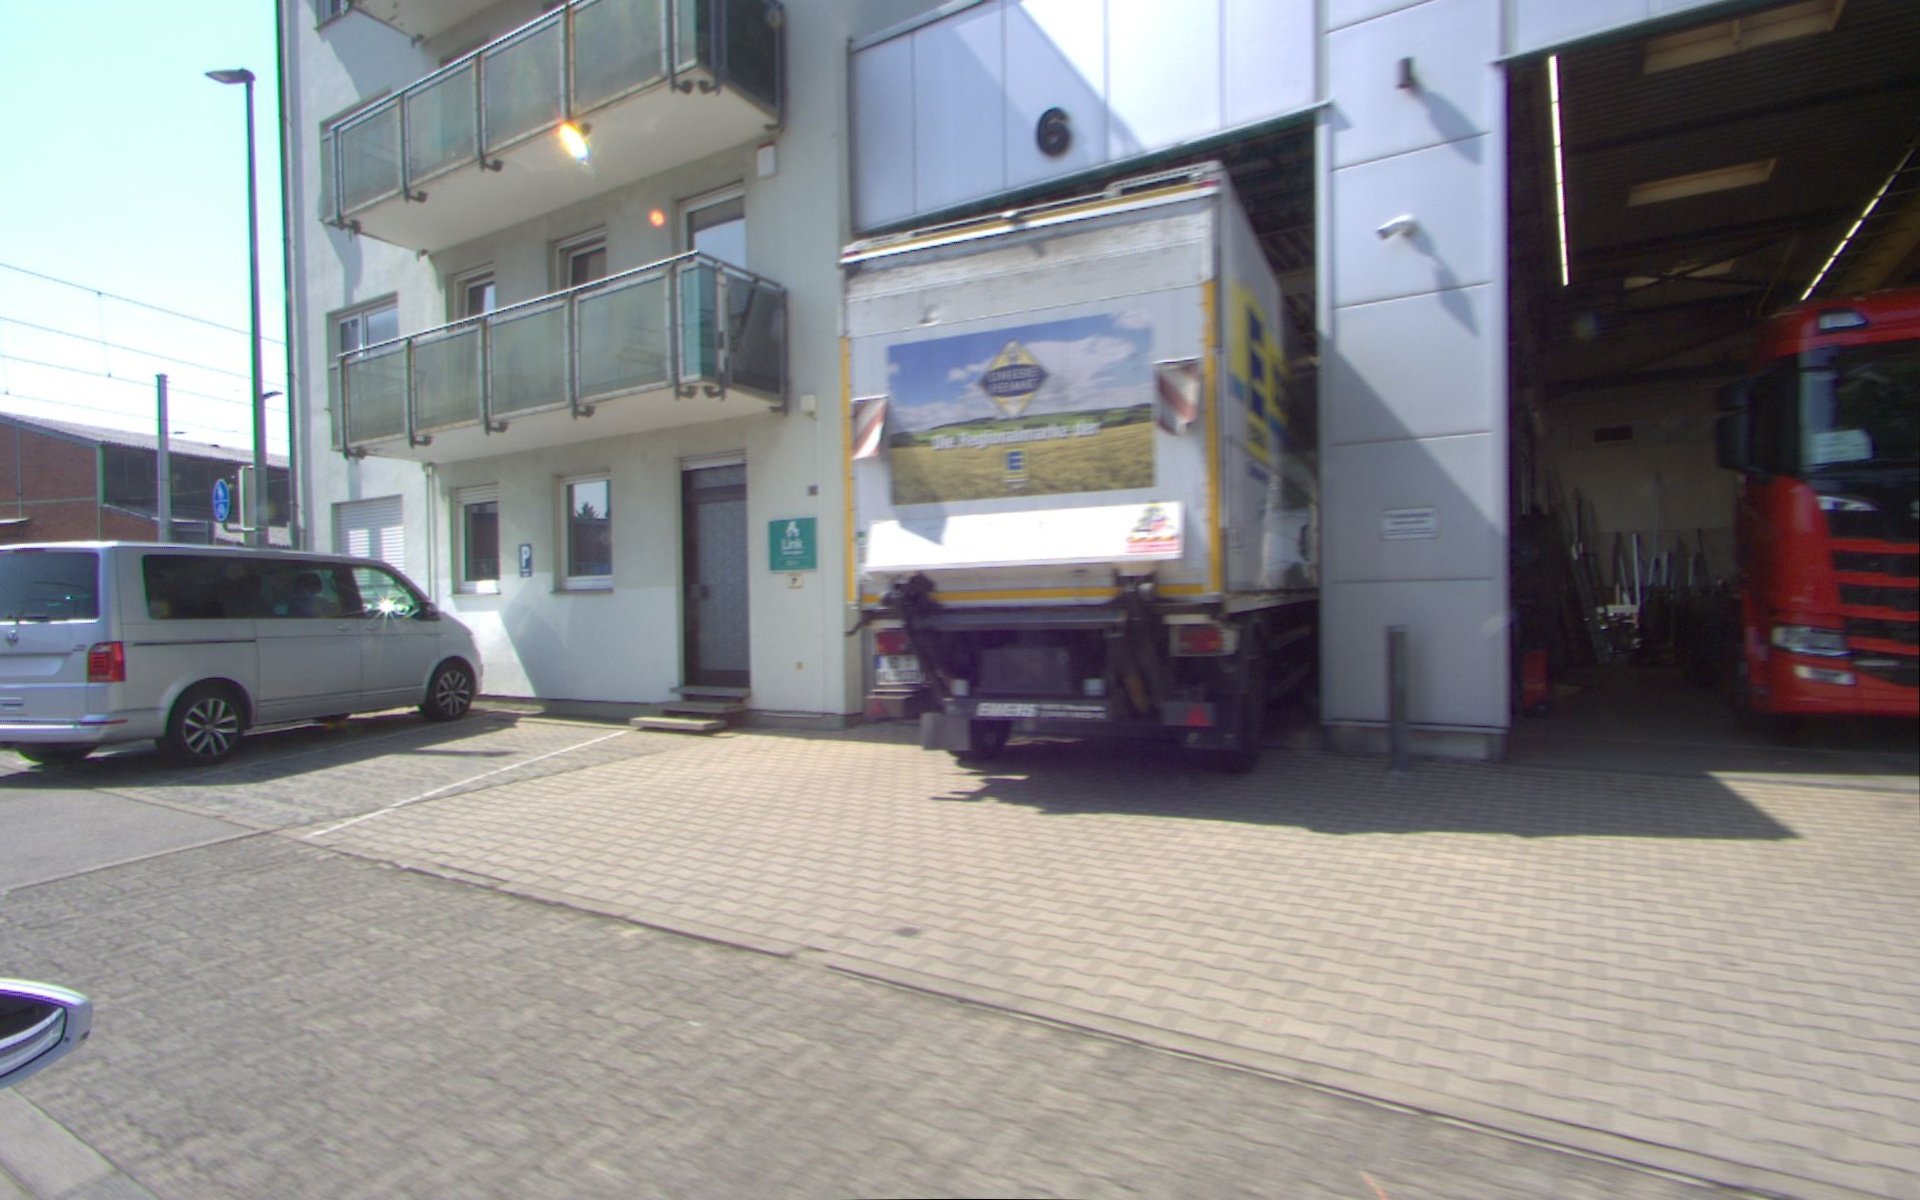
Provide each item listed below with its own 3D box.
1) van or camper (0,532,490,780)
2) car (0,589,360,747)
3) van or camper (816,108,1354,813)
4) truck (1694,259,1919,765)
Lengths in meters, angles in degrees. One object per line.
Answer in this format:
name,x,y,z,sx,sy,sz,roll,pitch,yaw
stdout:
van or camper,-7.207,0.411,10.231,1.962,1.933,4.551,0,1,12
car,-9.420,0.679,11.884,1.844,1.541,3.972,-1,0,8
van or camper,2.682,-0.757,11.209,2.735,3.742,11.600,0,0,24
truck,9.068,-0.658,9.930,2.445,3.449,7.929,-1,1,33
